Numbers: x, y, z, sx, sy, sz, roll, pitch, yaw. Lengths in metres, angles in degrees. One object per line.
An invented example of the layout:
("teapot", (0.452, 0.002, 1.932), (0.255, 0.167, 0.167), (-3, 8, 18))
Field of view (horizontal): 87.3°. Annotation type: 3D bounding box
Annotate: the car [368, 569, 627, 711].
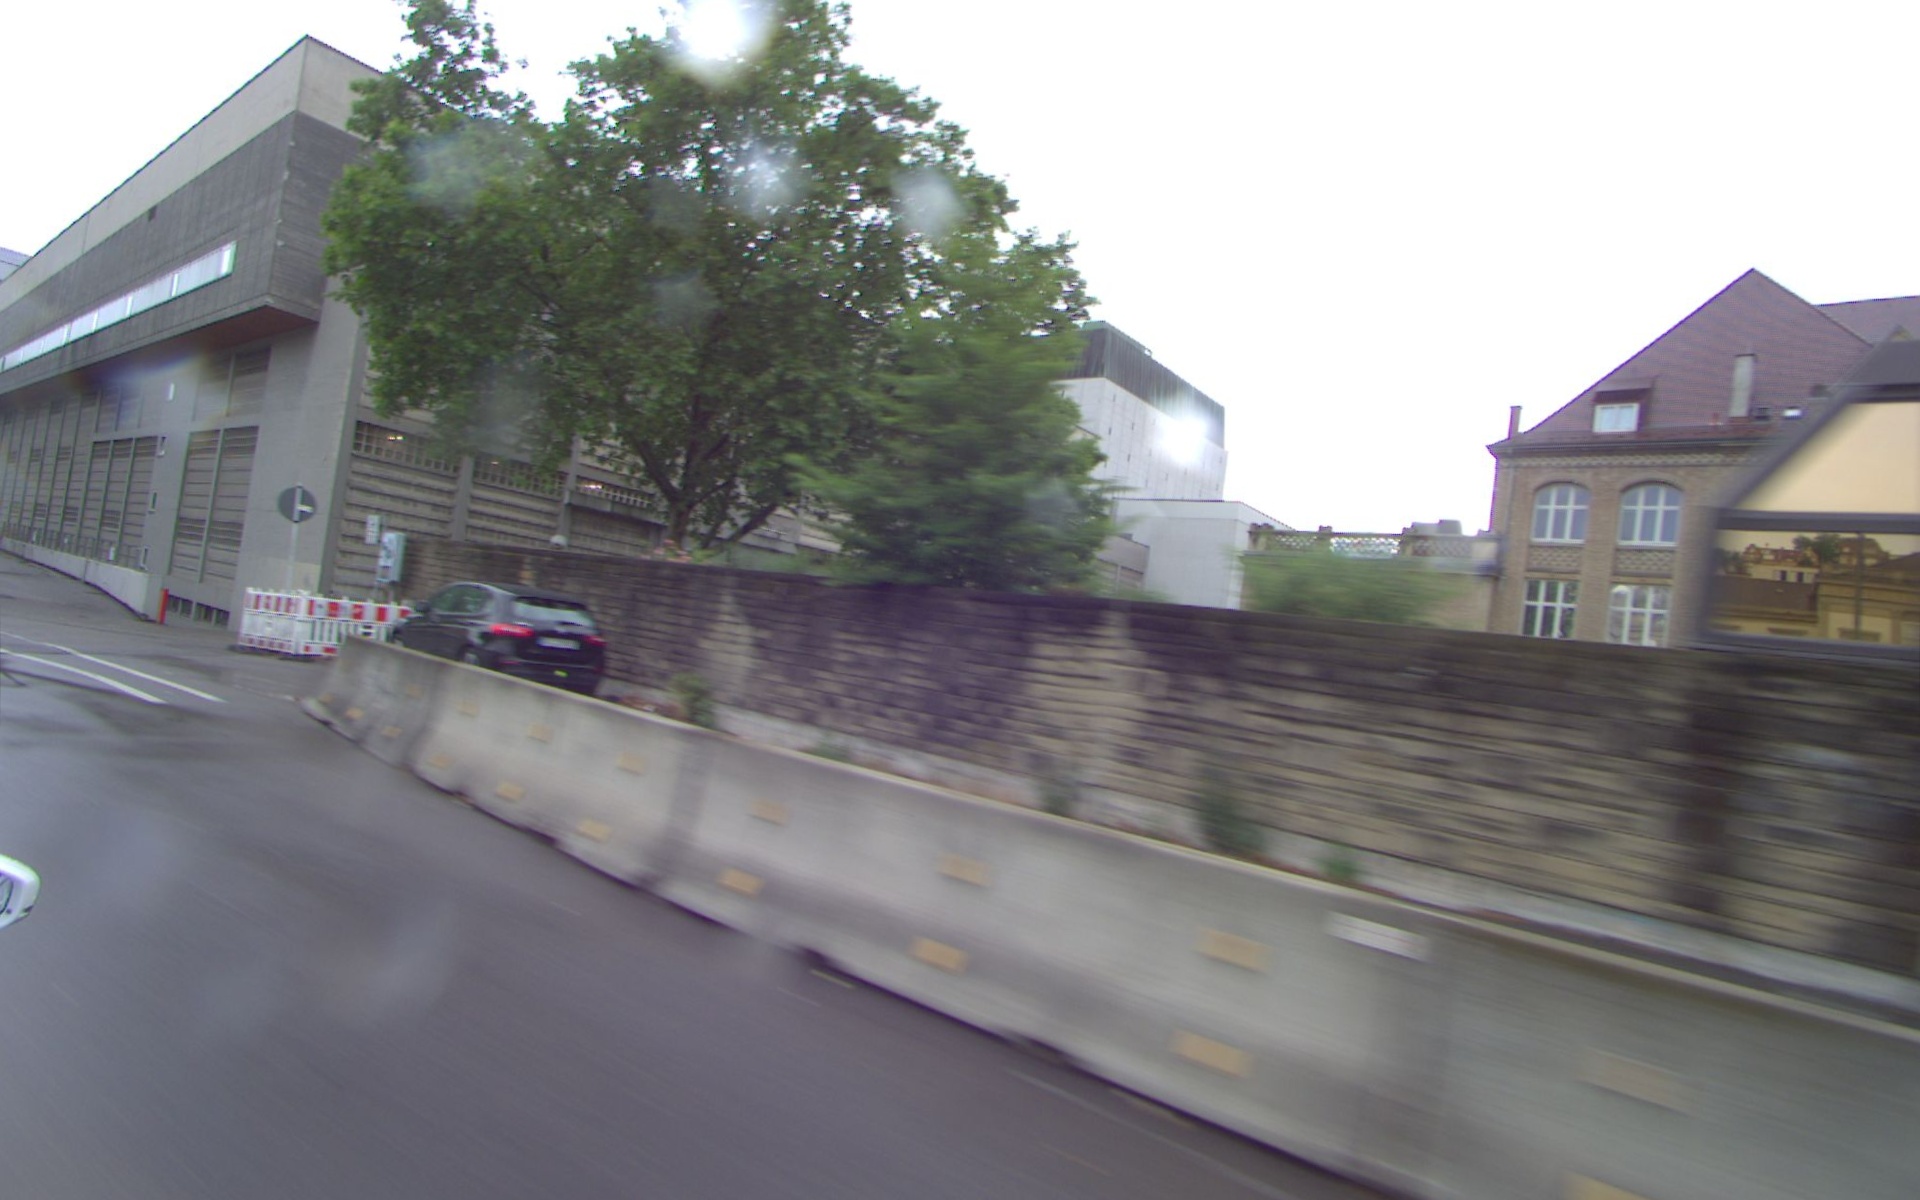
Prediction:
("car", (-6.902, 0.530, 14.794), (4.267, 1.569, 1.803), (5, -3, 42))
